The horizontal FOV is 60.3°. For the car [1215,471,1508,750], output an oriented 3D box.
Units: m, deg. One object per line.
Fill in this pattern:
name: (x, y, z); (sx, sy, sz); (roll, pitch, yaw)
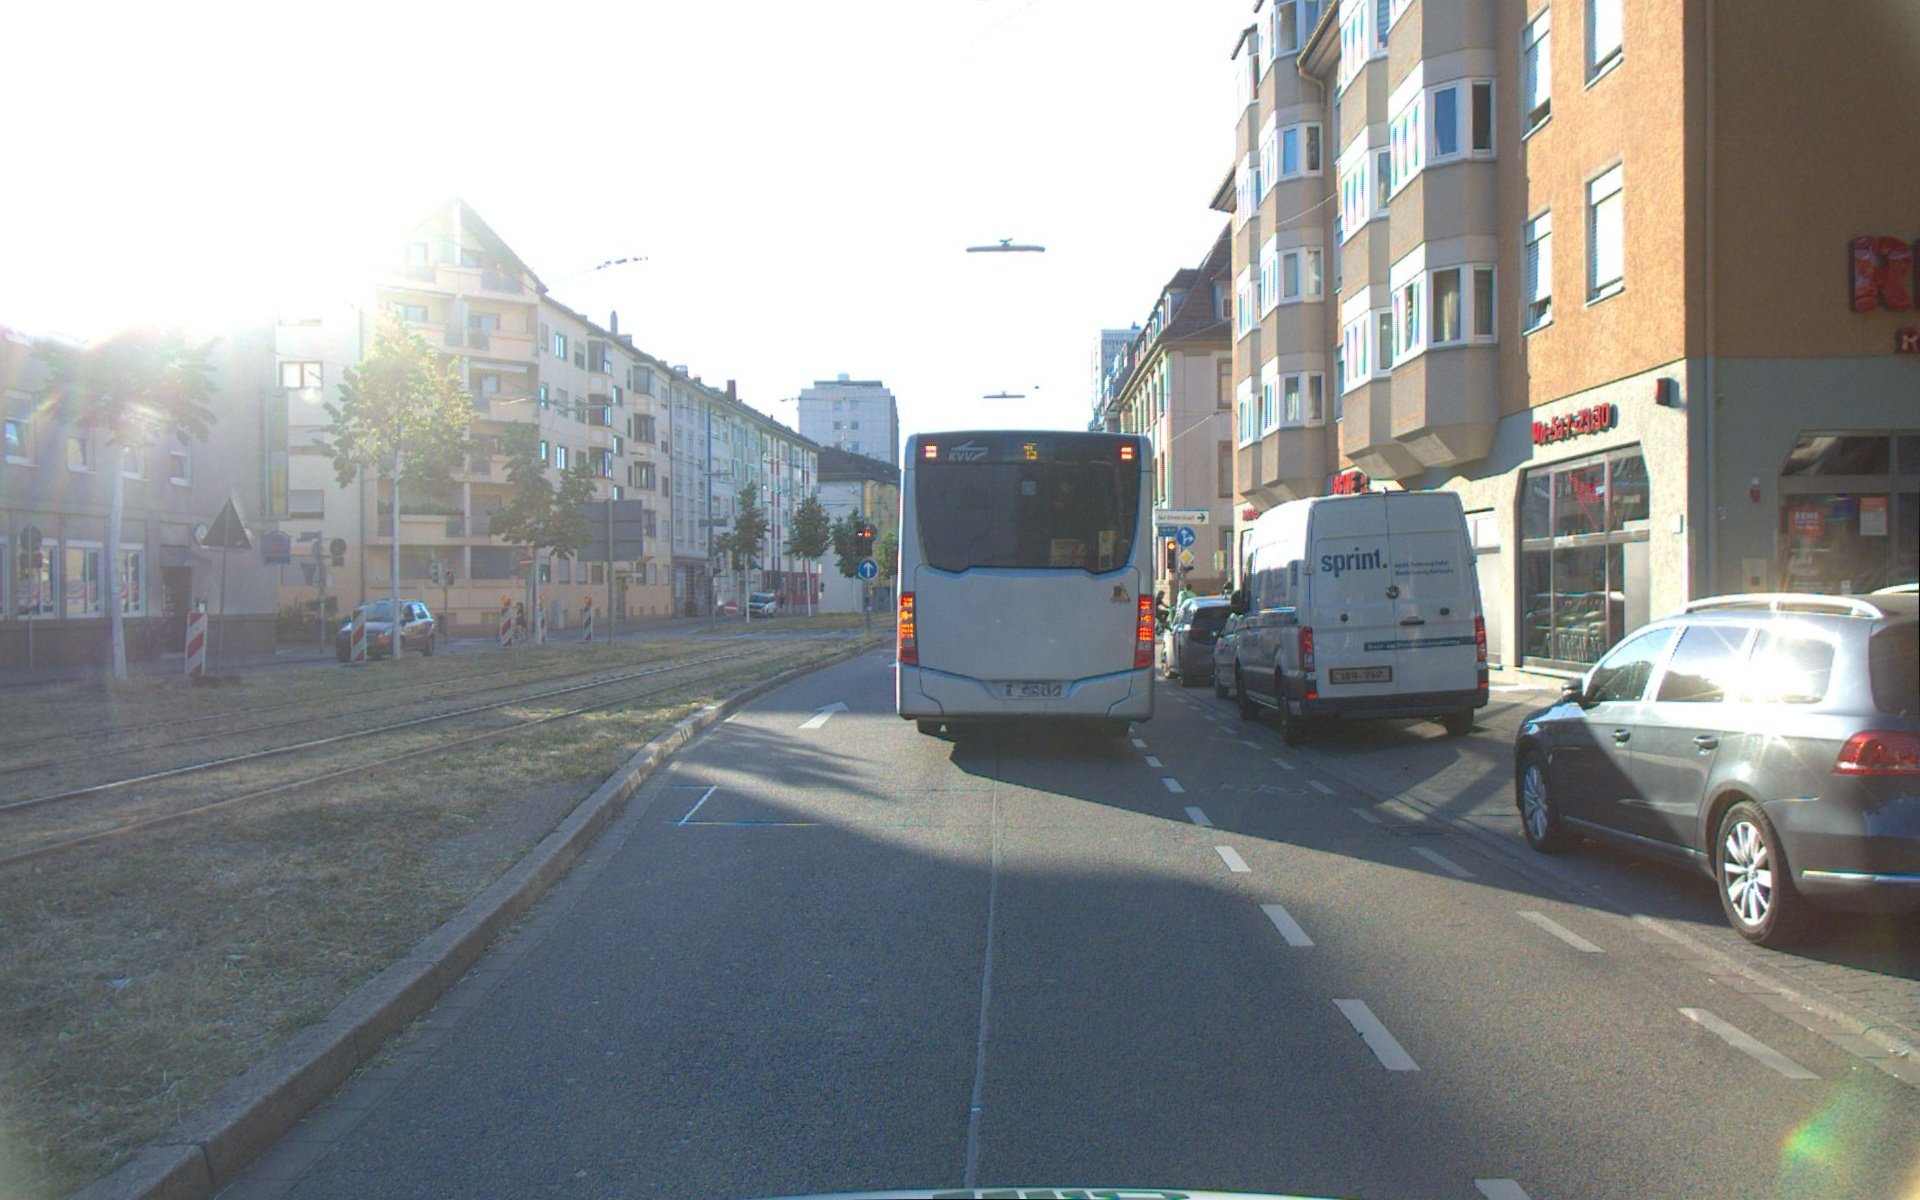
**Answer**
car: (4.383, 0.099, 19.121); (1.975, 2.595, 5.786); (-4, 0, 2)

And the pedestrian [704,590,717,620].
pedestrian: (-17.485, 0.357, 116.078); (0.770, 2.049, 0.890); (-1, 0, -2)

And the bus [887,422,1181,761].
bus: (0.826, -0.092, 19.777); (2.682, 3.109, 8.855); (1, 0, 2)

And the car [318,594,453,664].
car: (-15.916, 0.759, 46.105); (1.774, 1.587, 4.938); (-2, 2, 3)

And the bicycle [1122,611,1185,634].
bicycle: (6.632, 0.755, 56.831); (2.025, 0.745, 0.761); (-1, 0, -10)

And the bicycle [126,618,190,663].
bicycle: (-20.907, 1.047, 43.161); (0.731, 1.134, 1.779); (-1, 0, 2)

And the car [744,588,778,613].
car: (-14.997, 0.013, 124.822); (1.774, 1.829, 4.247); (-1, 0, 3)

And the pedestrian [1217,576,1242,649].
pedestrian: (6.727, 0.305, 41.223); (0.535, 1.815, 0.449); (-1, 0, 1)

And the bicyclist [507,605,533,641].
bicyclist: (-18.325, 0.947, 68.865); (0.518, 1.472, 0.963); (-1, 0, 32)

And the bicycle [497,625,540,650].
bicycle: (-18.383, 1.557, 68.825); (0.518, 1.001, 1.878); (-1, 0, 32)

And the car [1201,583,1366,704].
car: (4.703, 0.593, 24.523); (1.800, 1.616, 3.786); (-1, 0, 2)

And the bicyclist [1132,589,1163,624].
bicyclist: (6.424, 0.216, 56.794); (0.915, 1.181, 0.642); (-1, 0, -9)

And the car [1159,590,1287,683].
car: (4.769, 0.614, 30.523); (1.800, 1.563, 4.231); (-1, 0, 2)

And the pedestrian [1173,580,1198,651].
pedestrian: (5.789, 0.390, 42.391); (0.536, 1.815, 0.449); (-1, 0, -3)

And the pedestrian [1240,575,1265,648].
pedestrian: (7.339, 0.293, 41.559); (0.535, 1.815, 0.449); (1, -1, 2)

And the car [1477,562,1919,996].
car: (4.227, 0.633, 8.442); (1.662, 1.557, 4.652); (-3, 0, 0)
